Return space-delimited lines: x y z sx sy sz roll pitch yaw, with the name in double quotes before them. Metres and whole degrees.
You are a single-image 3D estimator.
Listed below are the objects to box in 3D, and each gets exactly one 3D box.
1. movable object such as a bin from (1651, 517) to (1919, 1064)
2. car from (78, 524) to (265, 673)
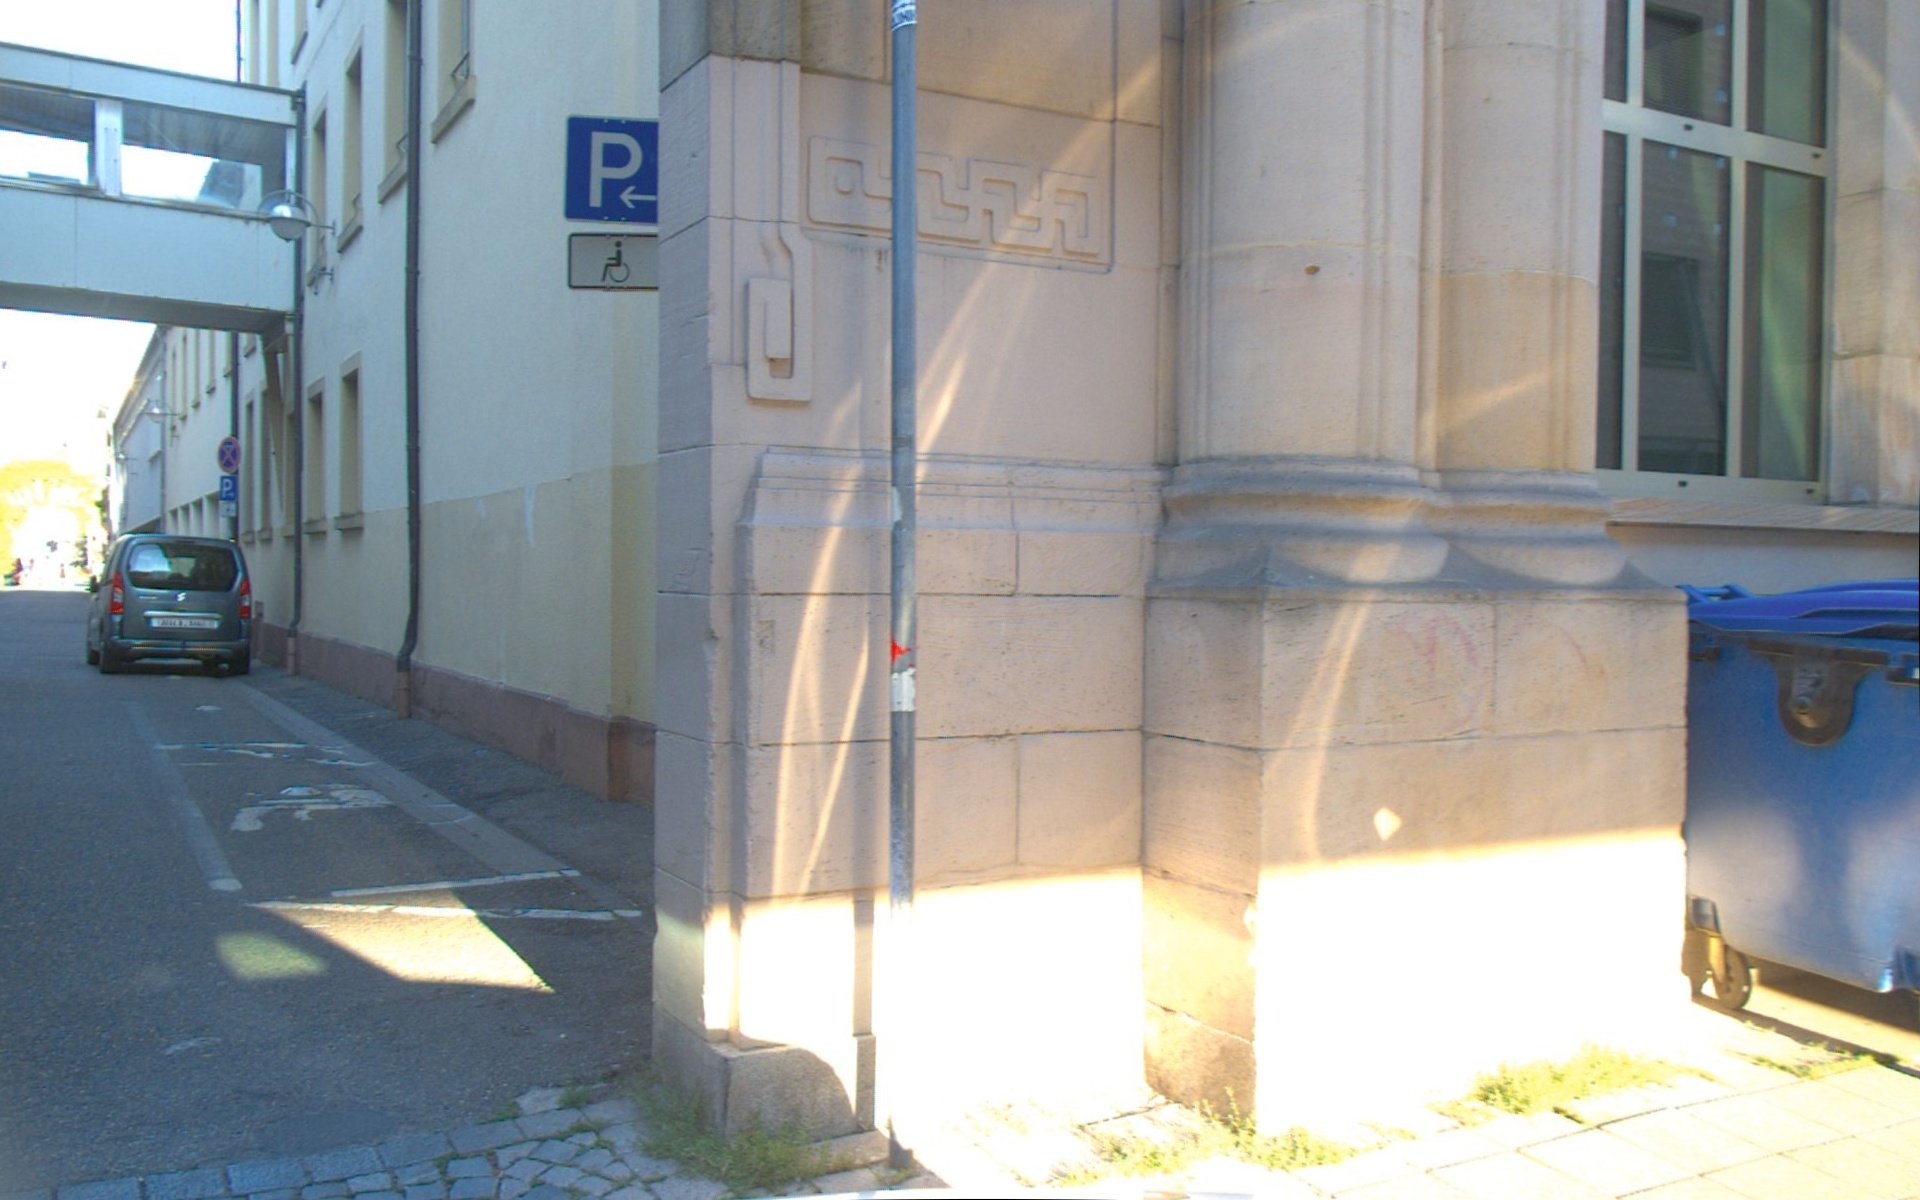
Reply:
"movable object such as a bin" 3.006 0.505 5.124 1.168 1.500 1.069 0 2 -25
"car" -10.920 0.002 22.760 1.837 1.786 4.117 4 -2 -32
